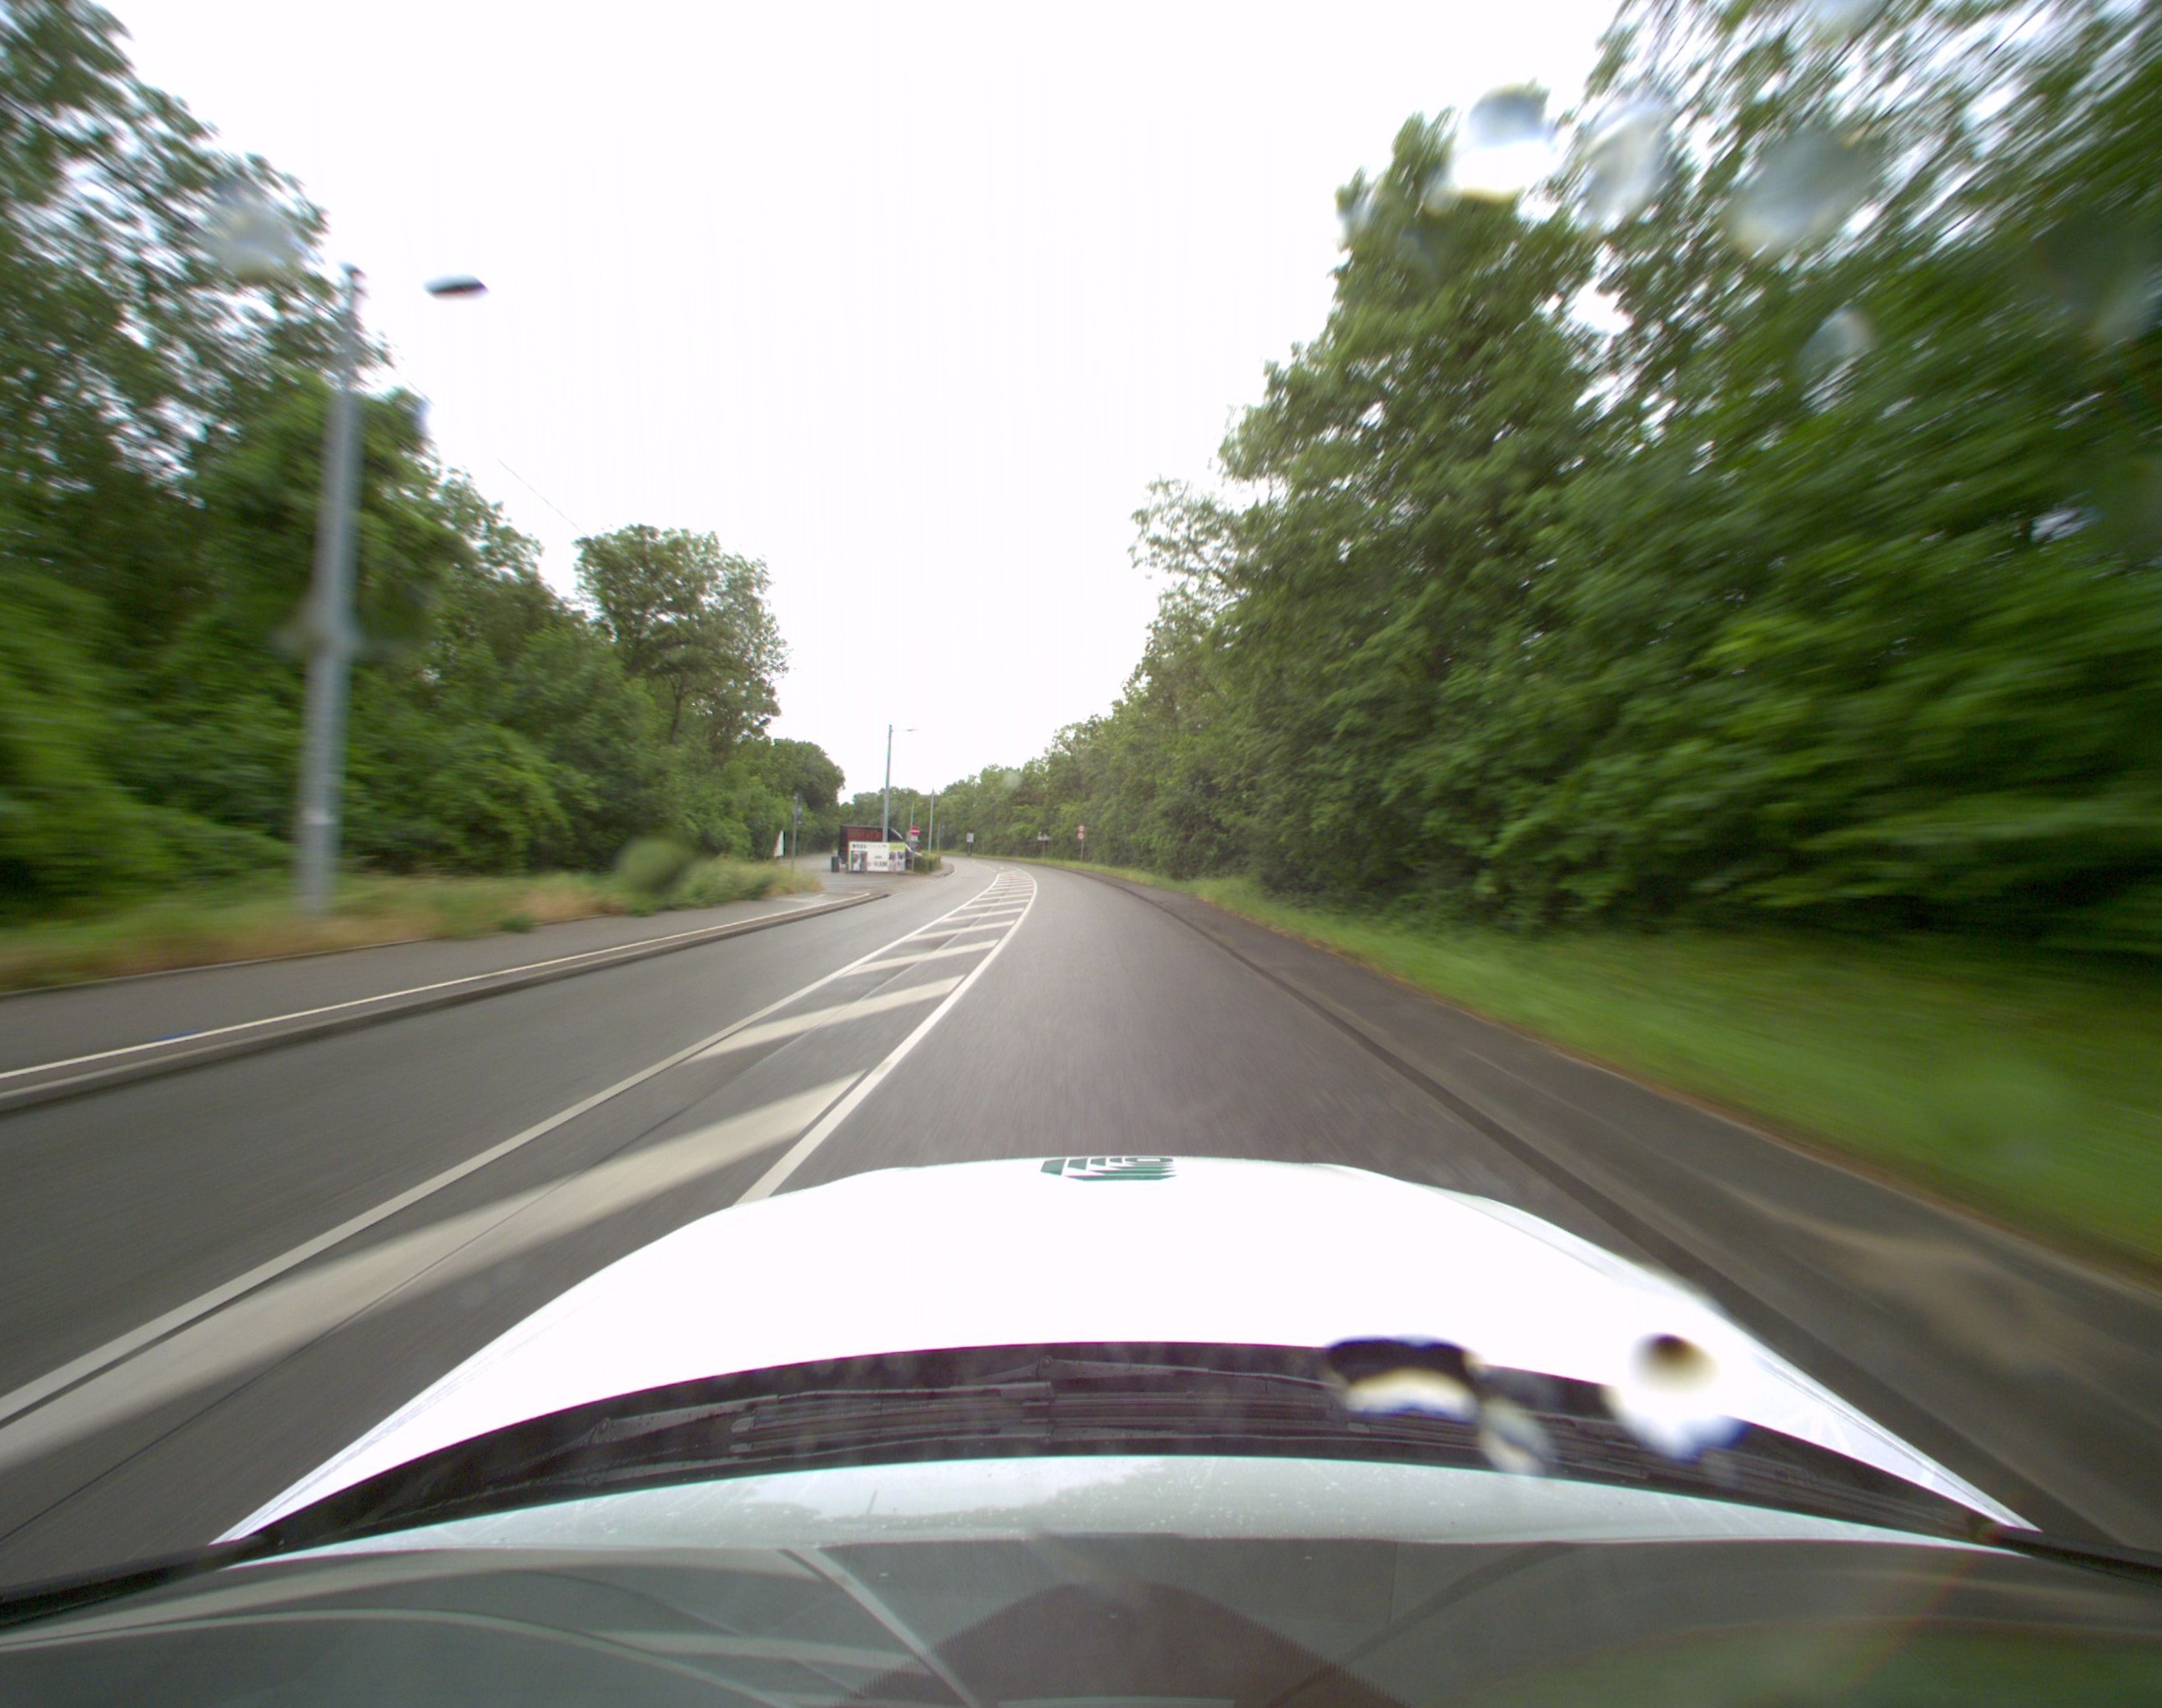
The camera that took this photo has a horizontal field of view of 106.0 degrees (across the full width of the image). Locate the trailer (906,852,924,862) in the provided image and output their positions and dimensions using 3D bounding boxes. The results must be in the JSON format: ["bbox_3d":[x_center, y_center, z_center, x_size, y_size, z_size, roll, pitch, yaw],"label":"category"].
[{"bbox_3d":[-17.712,0.352,87.079,1.804,1.034,1.327,1,0,-15],"label":"trailer"}]

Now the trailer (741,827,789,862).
[{"bbox_3d":[-27.100,-0.769,70.142,2.477,2.873,7.947,0,0,-11],"label":"trailer"}]

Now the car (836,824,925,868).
[{"bbox_3d":[-14.964,-0.578,61.153,6.275,3.113,2.741,1,-1,-12],"label":"car"}]

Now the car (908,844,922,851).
[{"bbox_3d":[-36.993,-1.370,181.720,1.946,1.498,4.279,1,1,-28],"label":"car"}]
